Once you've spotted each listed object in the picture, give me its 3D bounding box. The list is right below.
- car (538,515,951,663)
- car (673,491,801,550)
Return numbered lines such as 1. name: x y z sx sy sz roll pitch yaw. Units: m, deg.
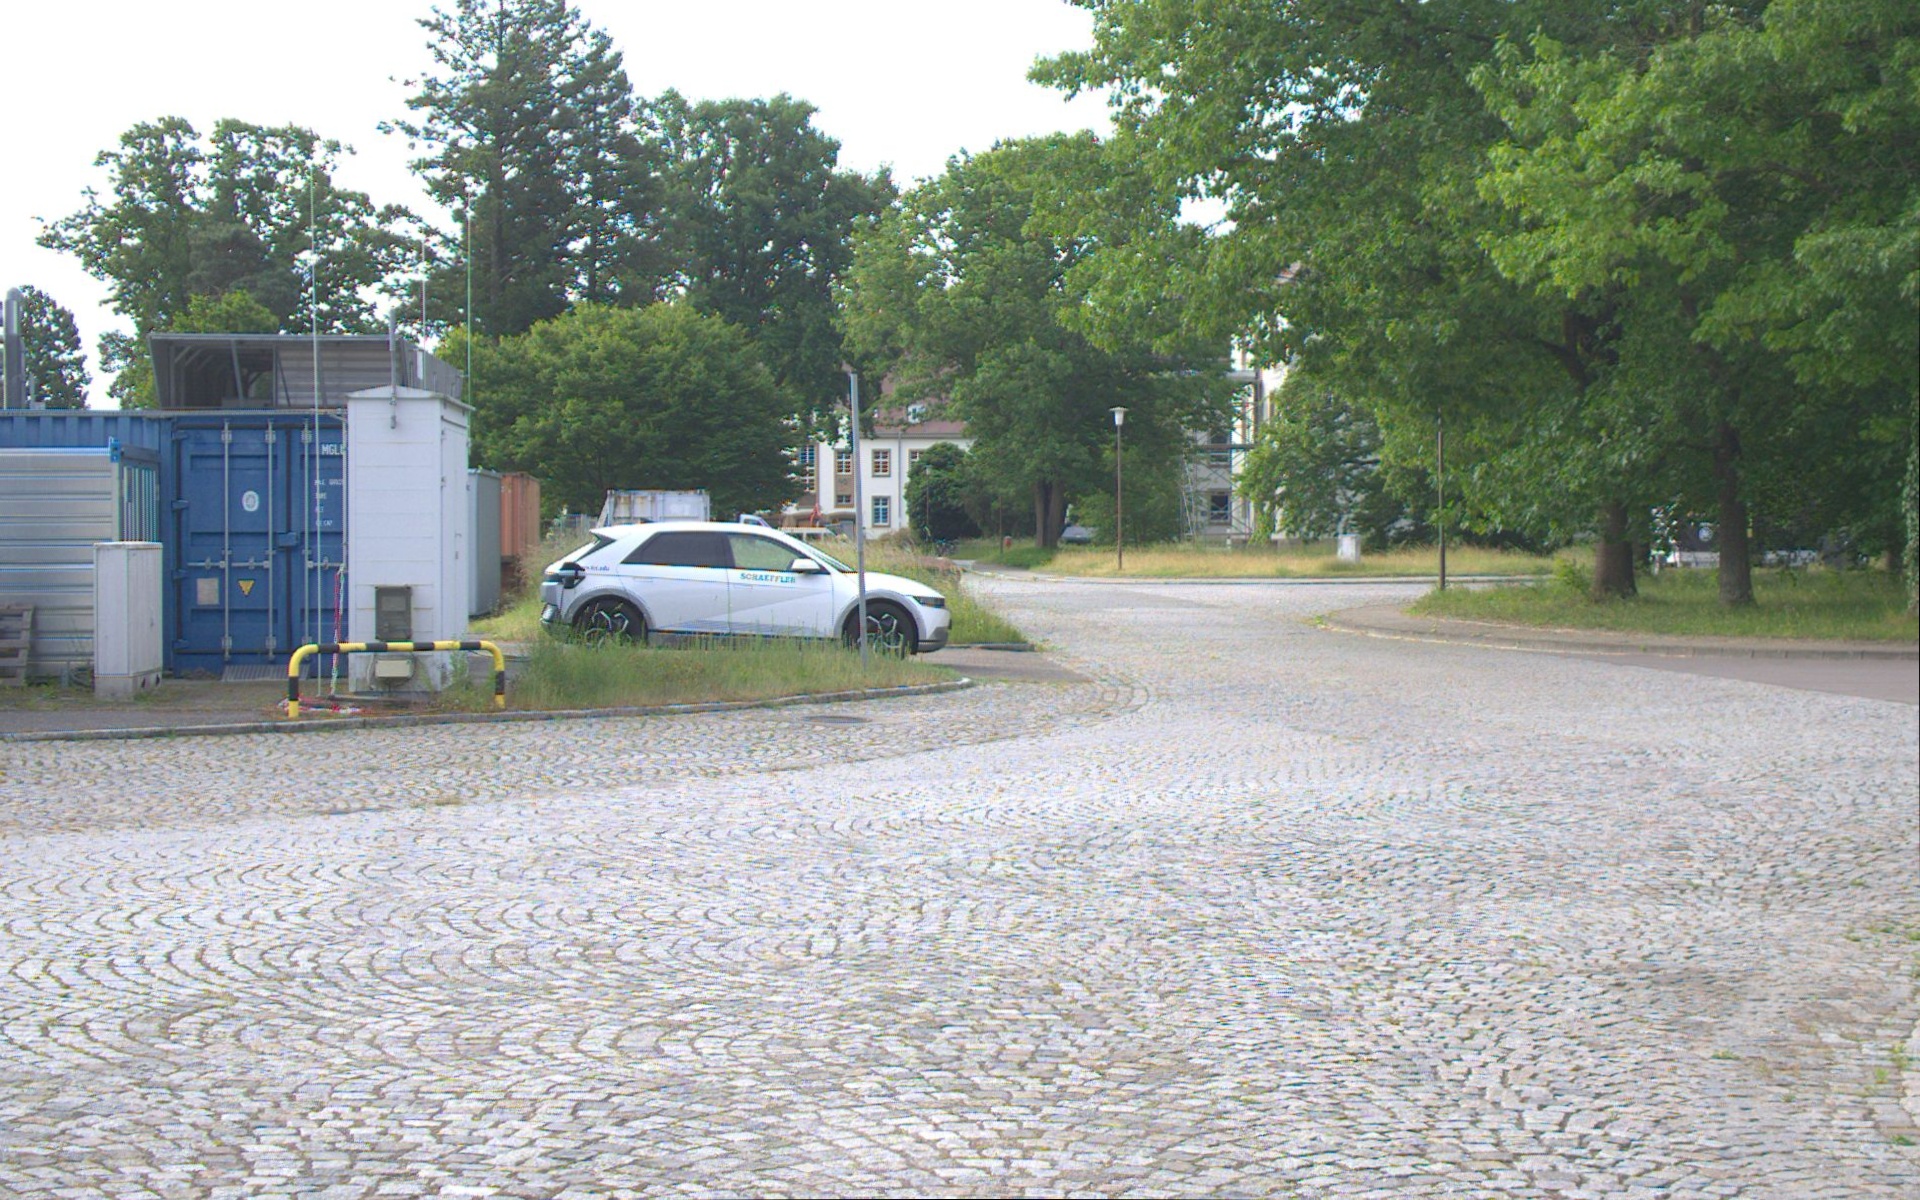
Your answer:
1. car: -2.386 -0.143 38.850 4.534 1.594 2.000 0 1 -1
2. car: -9.091 -3.235 140.200 5.169 2.329 2.000 0 1 -4
